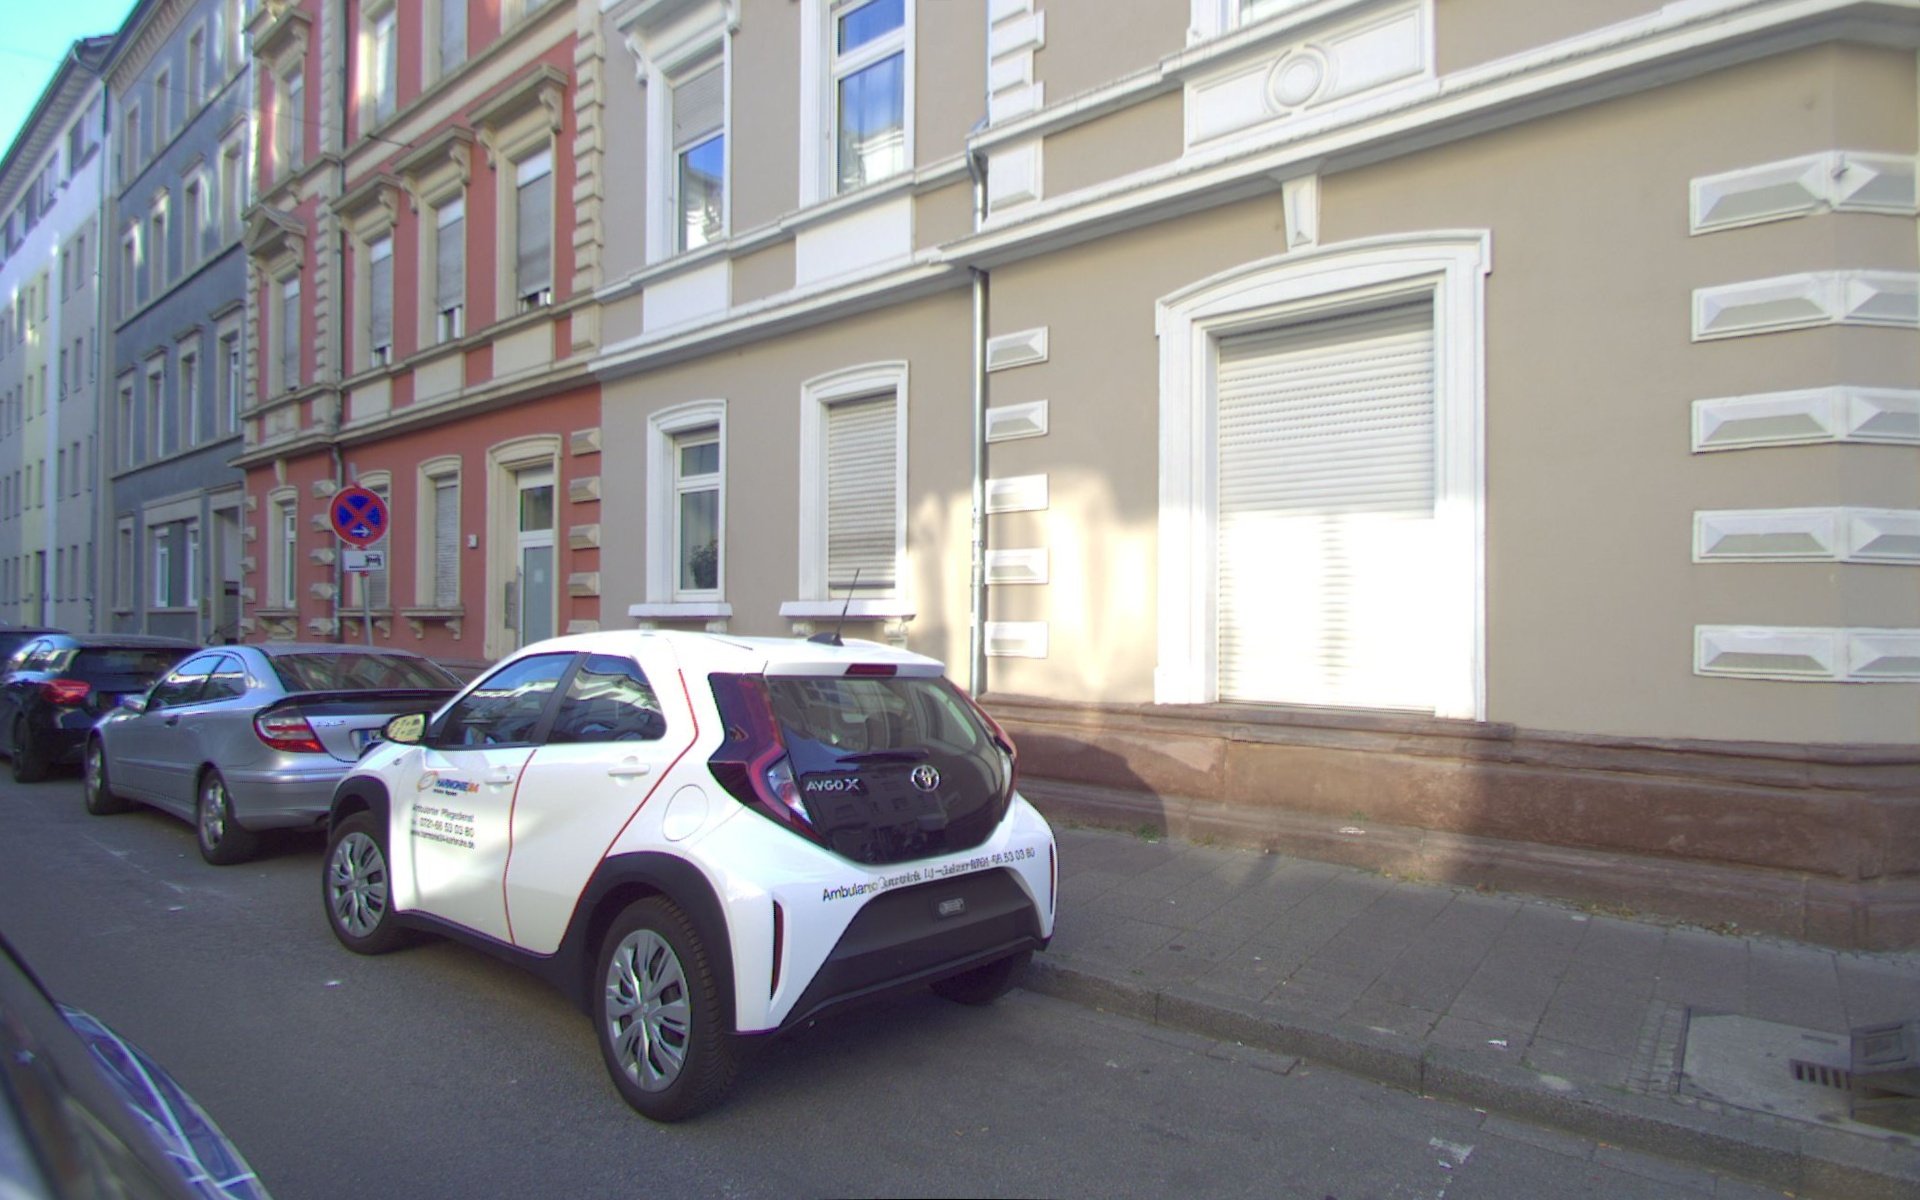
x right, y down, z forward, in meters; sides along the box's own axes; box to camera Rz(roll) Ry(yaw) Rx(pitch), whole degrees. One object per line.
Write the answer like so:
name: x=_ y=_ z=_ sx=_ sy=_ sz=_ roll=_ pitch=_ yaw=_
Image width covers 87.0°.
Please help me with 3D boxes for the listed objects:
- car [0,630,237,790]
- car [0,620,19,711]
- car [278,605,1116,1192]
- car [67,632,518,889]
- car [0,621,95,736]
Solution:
car: x=-9.460 y=1.083 z=10.957 sx=3.907 sy=1.426 sz=1.569 roll=-1 pitch=-5 yaw=39
car: x=-18.171 y=1.117 z=17.884 sx=4.424 sy=1.534 sz=1.578 roll=-1 pitch=-1 yaw=38
car: x=-1.409 y=0.852 z=4.531 sx=3.841 sy=1.507 sz=1.667 roll=-1 pitch=-5 yaw=40
car: x=-5.189 y=1.011 z=7.687 sx=3.956 sy=1.439 sz=1.594 roll=-1 pitch=-4 yaw=37
car: x=-14.238 y=1.067 z=14.789 sx=4.189 sy=1.510 sz=1.519 roll=-1 pitch=-3 yaw=37
